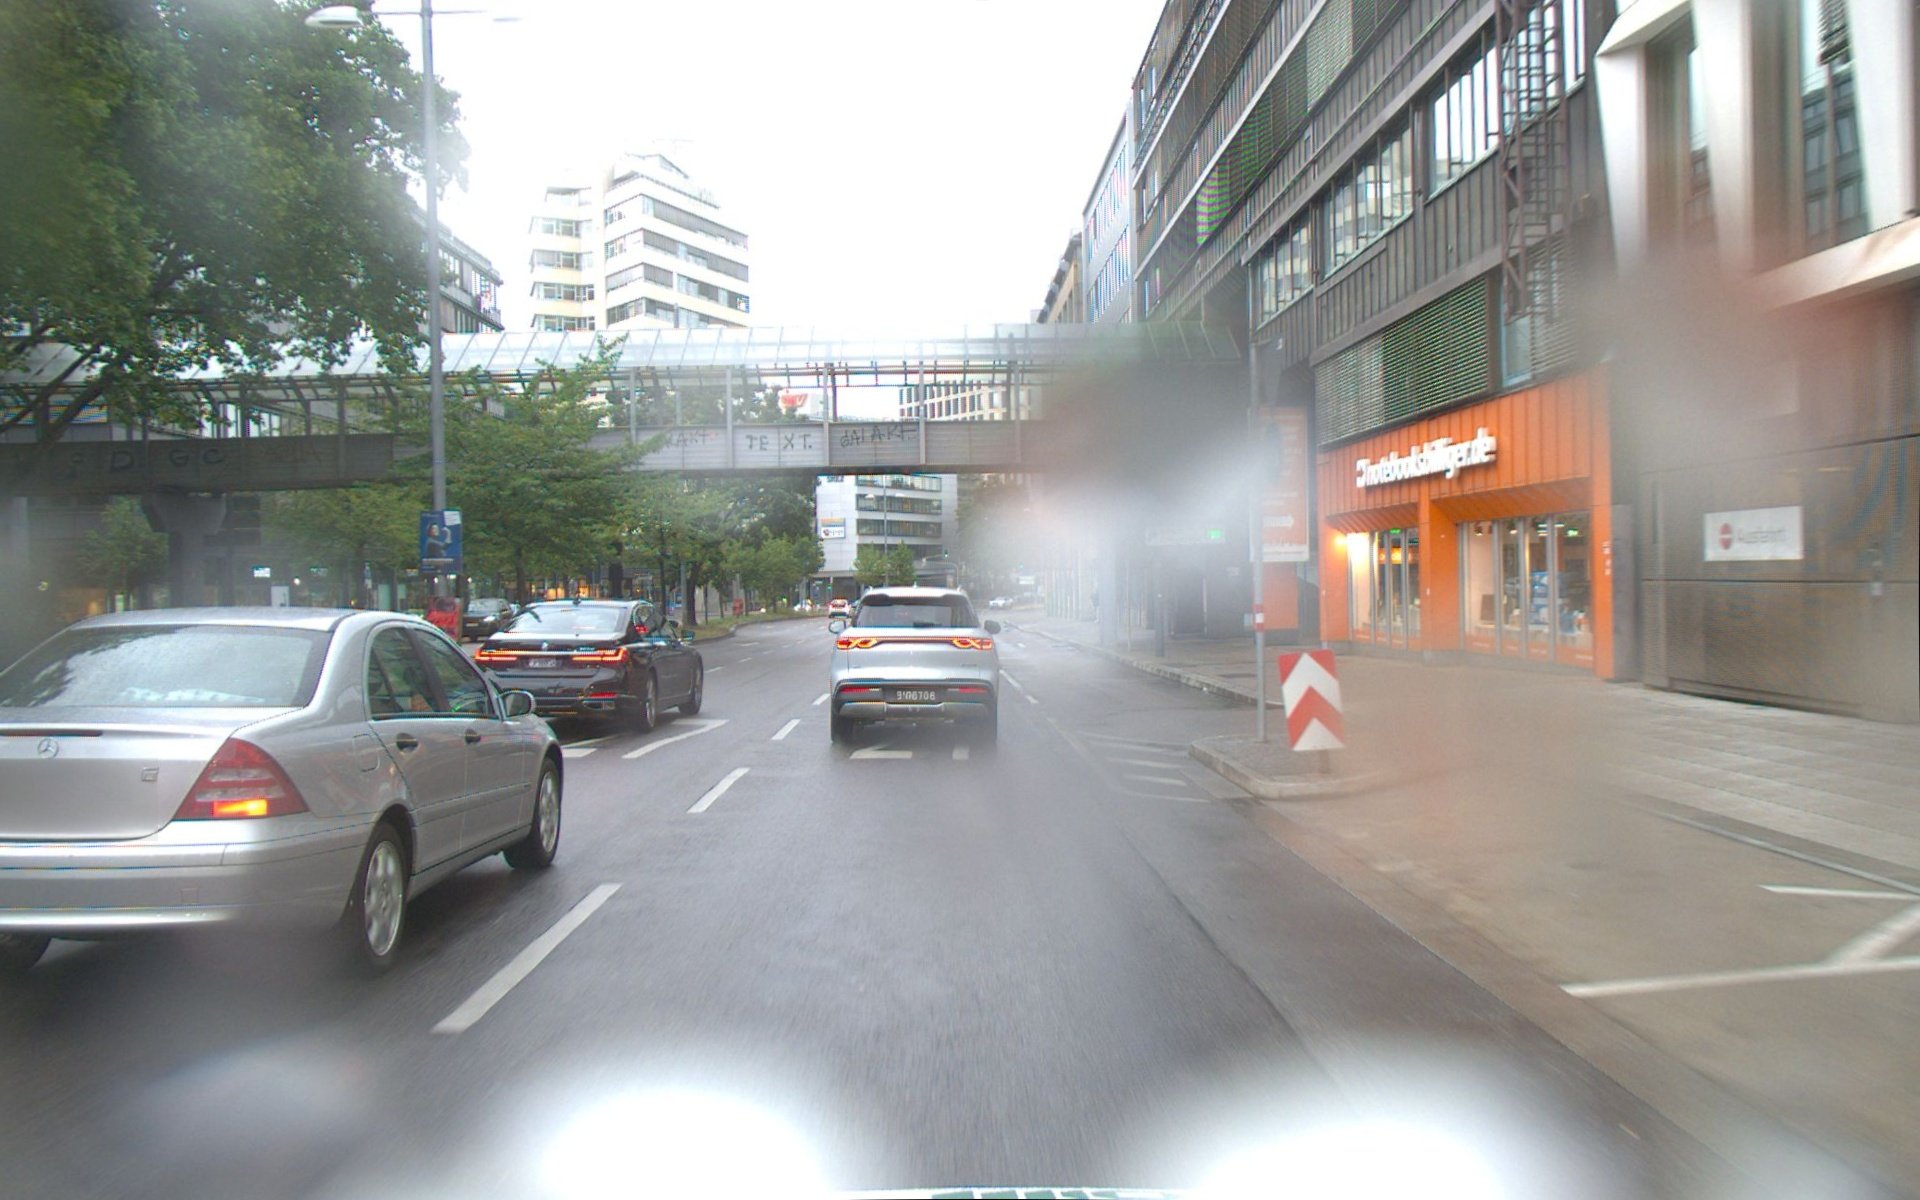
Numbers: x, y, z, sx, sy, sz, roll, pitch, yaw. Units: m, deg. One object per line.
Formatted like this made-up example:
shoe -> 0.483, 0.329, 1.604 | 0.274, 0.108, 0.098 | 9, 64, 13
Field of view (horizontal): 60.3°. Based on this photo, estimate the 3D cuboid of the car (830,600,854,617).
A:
car -> -9.782, 0.685, 137.305 | 1.619, 1.365, 4.000 | -1, 0, 1

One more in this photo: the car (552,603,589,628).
car -> -25.735, 1.016, 109.382 | 1.591, 1.639, 4.229 | 0, 0, -3

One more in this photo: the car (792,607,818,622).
car -> -16.321, 1.561, 174.007 | 1.589, 1.518, 4.310 | -1, -1, 11

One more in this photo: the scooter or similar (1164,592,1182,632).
scooter or similar -> 6.784, 0.379, 52.728 | 0.342, 1.278, 1.394 | -1, 0, -1

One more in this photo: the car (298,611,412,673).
car -> -16.043, 1.088, 44.029 | 1.629, 1.489, 4.078 | -3, 0, -3

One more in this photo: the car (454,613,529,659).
car -> -20.555, 1.563, 72.772 | 1.961, 1.799, 5.182 | -4, 0, -3

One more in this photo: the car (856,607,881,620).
car -> -10.607, 1.541, 191.621 | 1.589, 1.478, 4.164 | -2, -1, 17

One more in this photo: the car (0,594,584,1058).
car -> -3.011, 0.773, 7.574 | 1.638, 1.505, 4.359 | 0, -1, -1

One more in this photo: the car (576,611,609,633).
car -> -25.626, 1.525, 115.433 | 1.591, 1.486, 3.960 | 0, 0, -3

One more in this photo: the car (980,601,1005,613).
car -> 4.204, 0.872, 212.559 | 1.551, 1.565, 3.993 | -1, 0, 29

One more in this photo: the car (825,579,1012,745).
car -> -0.458, 0.646, 18.640 | 1.862, 1.650, 3.999 | 1, -1, -1

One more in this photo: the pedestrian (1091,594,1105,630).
pedestrian -> 7.075, 0.621, 85.006 | 0.622, 1.803, 0.789 | -1, -1, -1

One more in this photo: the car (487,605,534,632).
car -> -25.122, 1.049, 92.478 | 1.591, 1.458, 4.443 | -1, -1, -3

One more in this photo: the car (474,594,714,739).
car -> -4.201, 0.704, 19.809 | 1.834, 1.505, 4.877 | -1, 0, -1

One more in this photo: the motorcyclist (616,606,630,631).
motorcyclist -> -20.218, 1.112, 99.326 | 0.625, 1.443, 0.970 | -1, -1, -1

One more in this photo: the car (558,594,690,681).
car -> -6.169, 0.678, 30.763 | 1.738, 1.482, 3.998 | -1, -1, -2

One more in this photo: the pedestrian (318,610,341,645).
pedestrian -> -32.105, 1.400, 84.219 | 0.728, 1.745, 1.056 | -1, 0, -2
